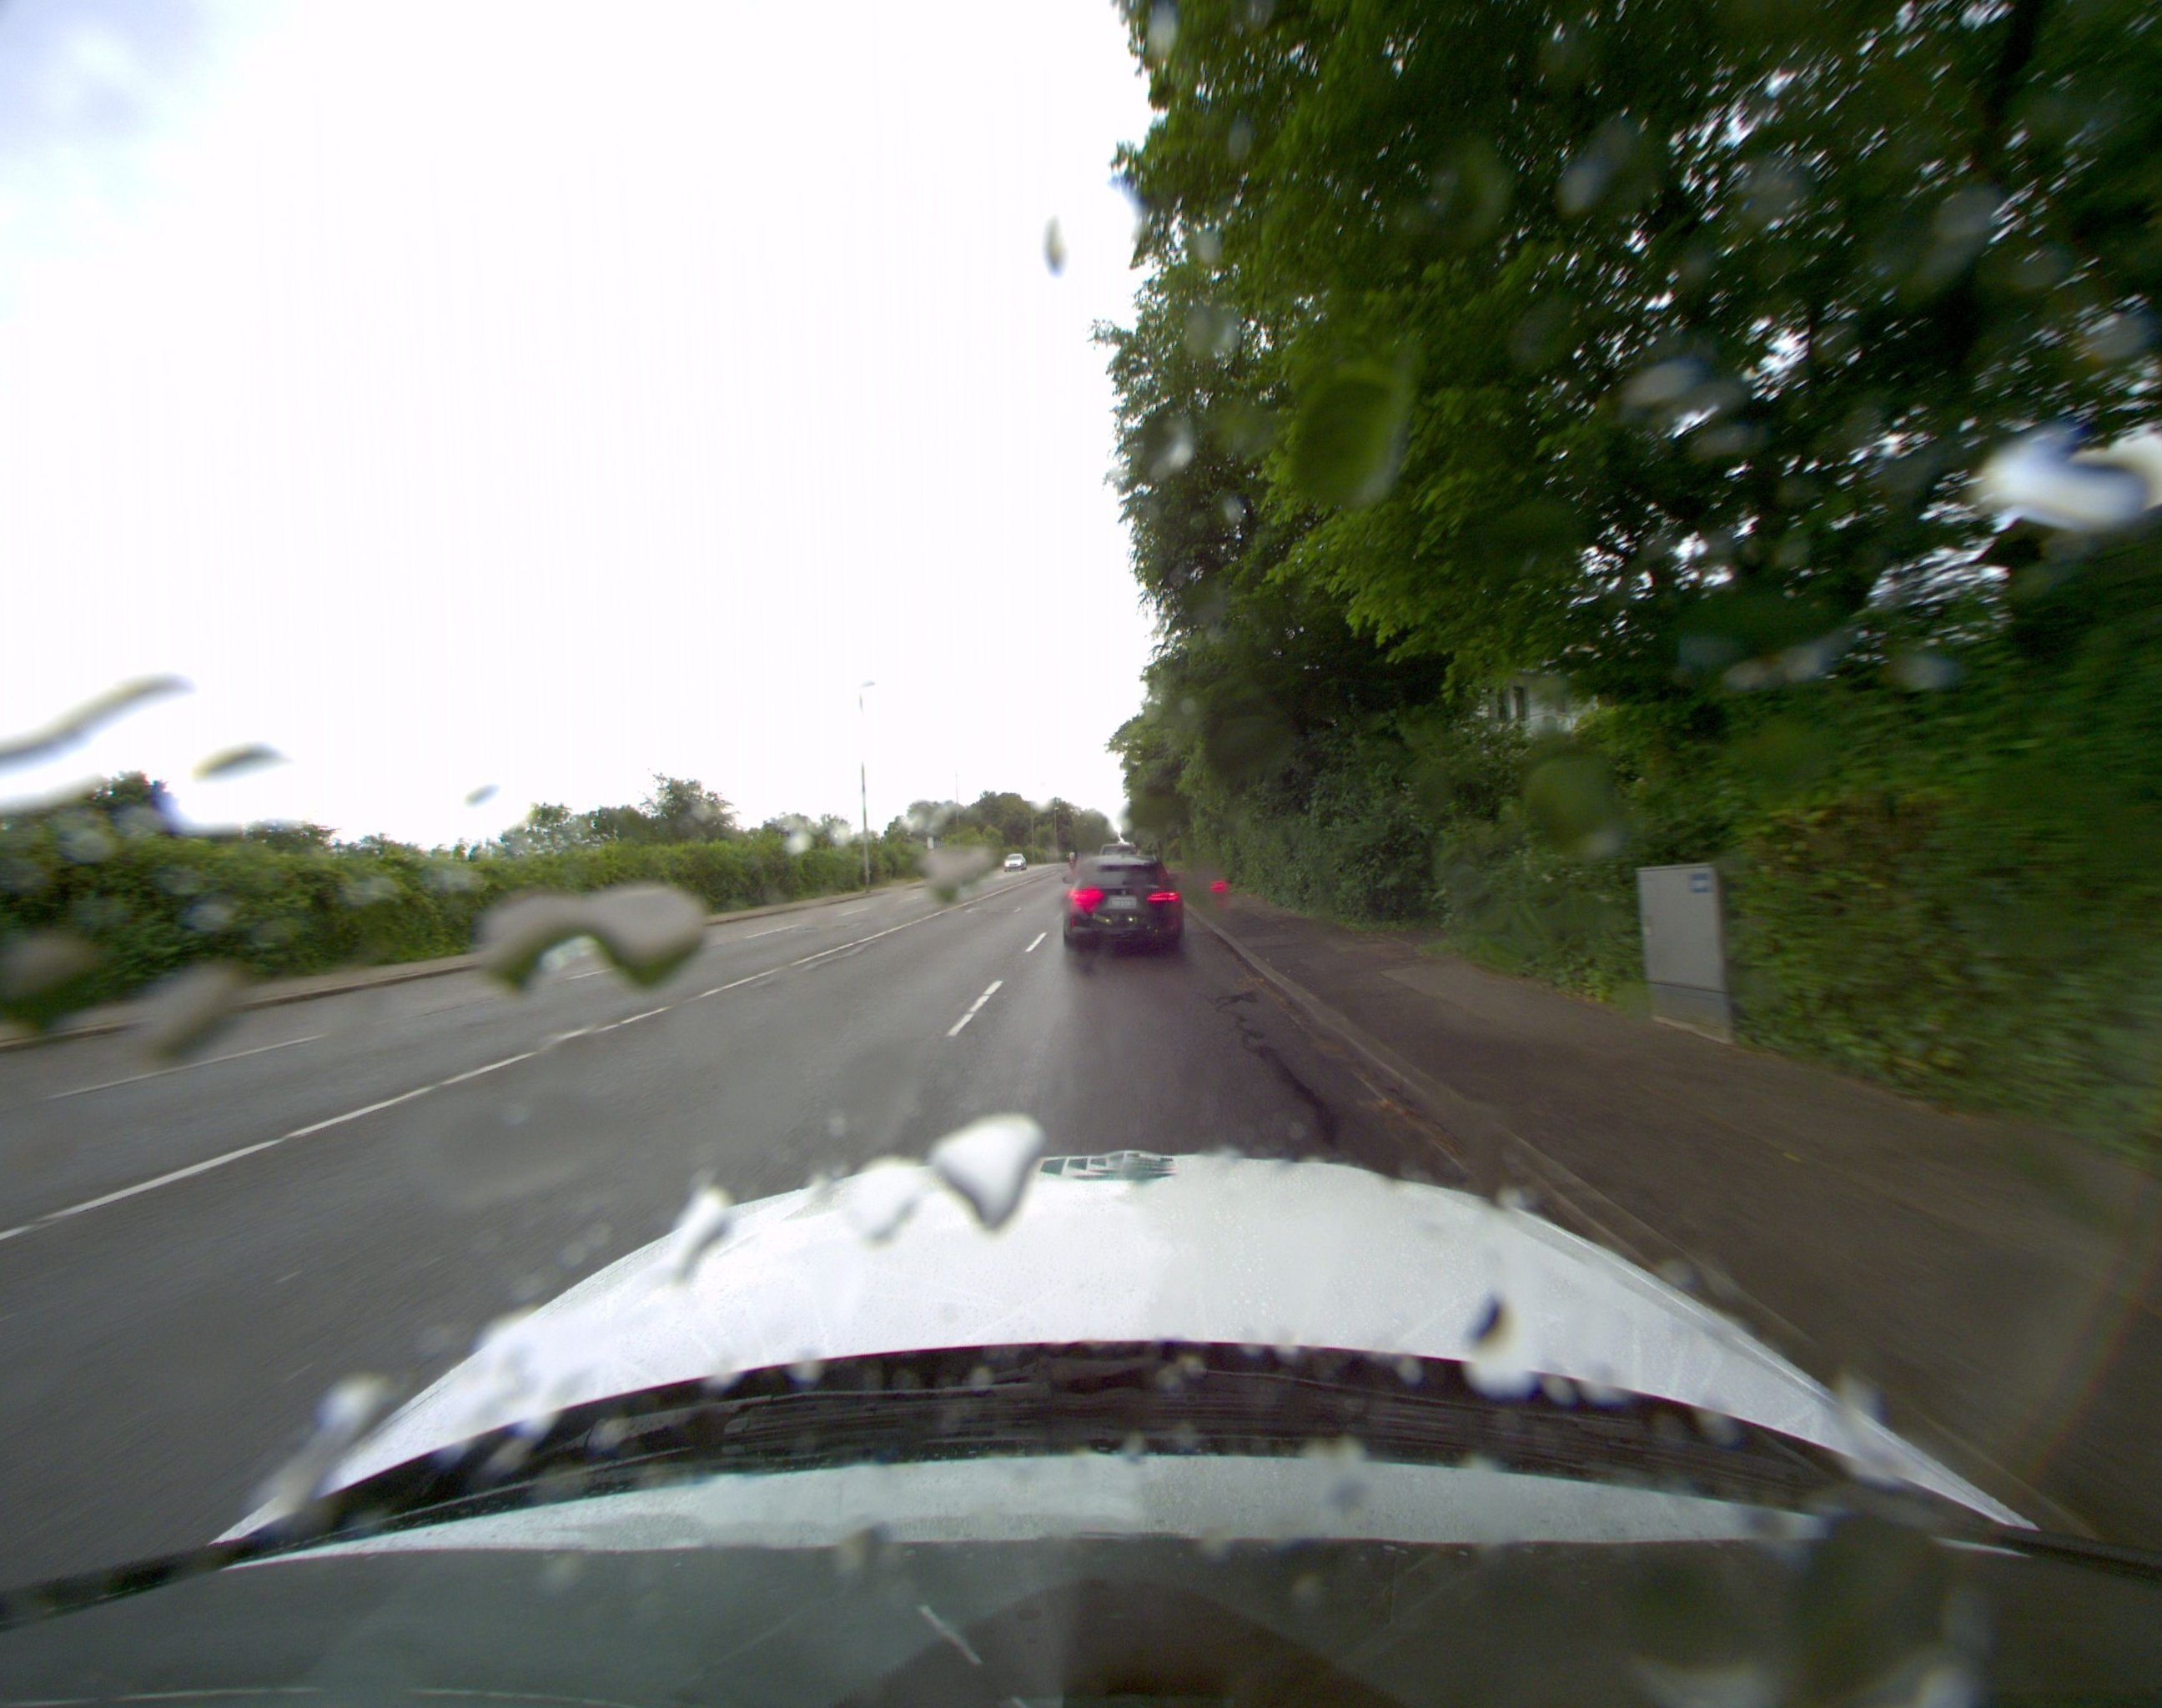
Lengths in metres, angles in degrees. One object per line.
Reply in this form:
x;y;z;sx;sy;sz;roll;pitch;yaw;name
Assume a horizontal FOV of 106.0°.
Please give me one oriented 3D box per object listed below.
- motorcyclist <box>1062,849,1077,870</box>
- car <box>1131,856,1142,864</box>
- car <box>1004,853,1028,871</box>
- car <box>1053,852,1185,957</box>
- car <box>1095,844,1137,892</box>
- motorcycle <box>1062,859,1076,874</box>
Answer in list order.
-0.886;0.411;62.189;1.035;1.568;0.855;0;-1;2;motorcyclist
11.074;1.160;161.534;1.926;1.442;4.414;-3;-1;5;car
-6.065;0.741;76.512;1.750;1.568;4.001;-4;0;1;car
0.673;0.747;13.635;1.889;1.489;4.004;0;-1;4;car
1.493;0.558;34.503;1.622;1.833;4.003;-3;0;3;car
-0.887;0.938;62.200;0.872;1.124;2.742;0;-1;3;motorcycle
